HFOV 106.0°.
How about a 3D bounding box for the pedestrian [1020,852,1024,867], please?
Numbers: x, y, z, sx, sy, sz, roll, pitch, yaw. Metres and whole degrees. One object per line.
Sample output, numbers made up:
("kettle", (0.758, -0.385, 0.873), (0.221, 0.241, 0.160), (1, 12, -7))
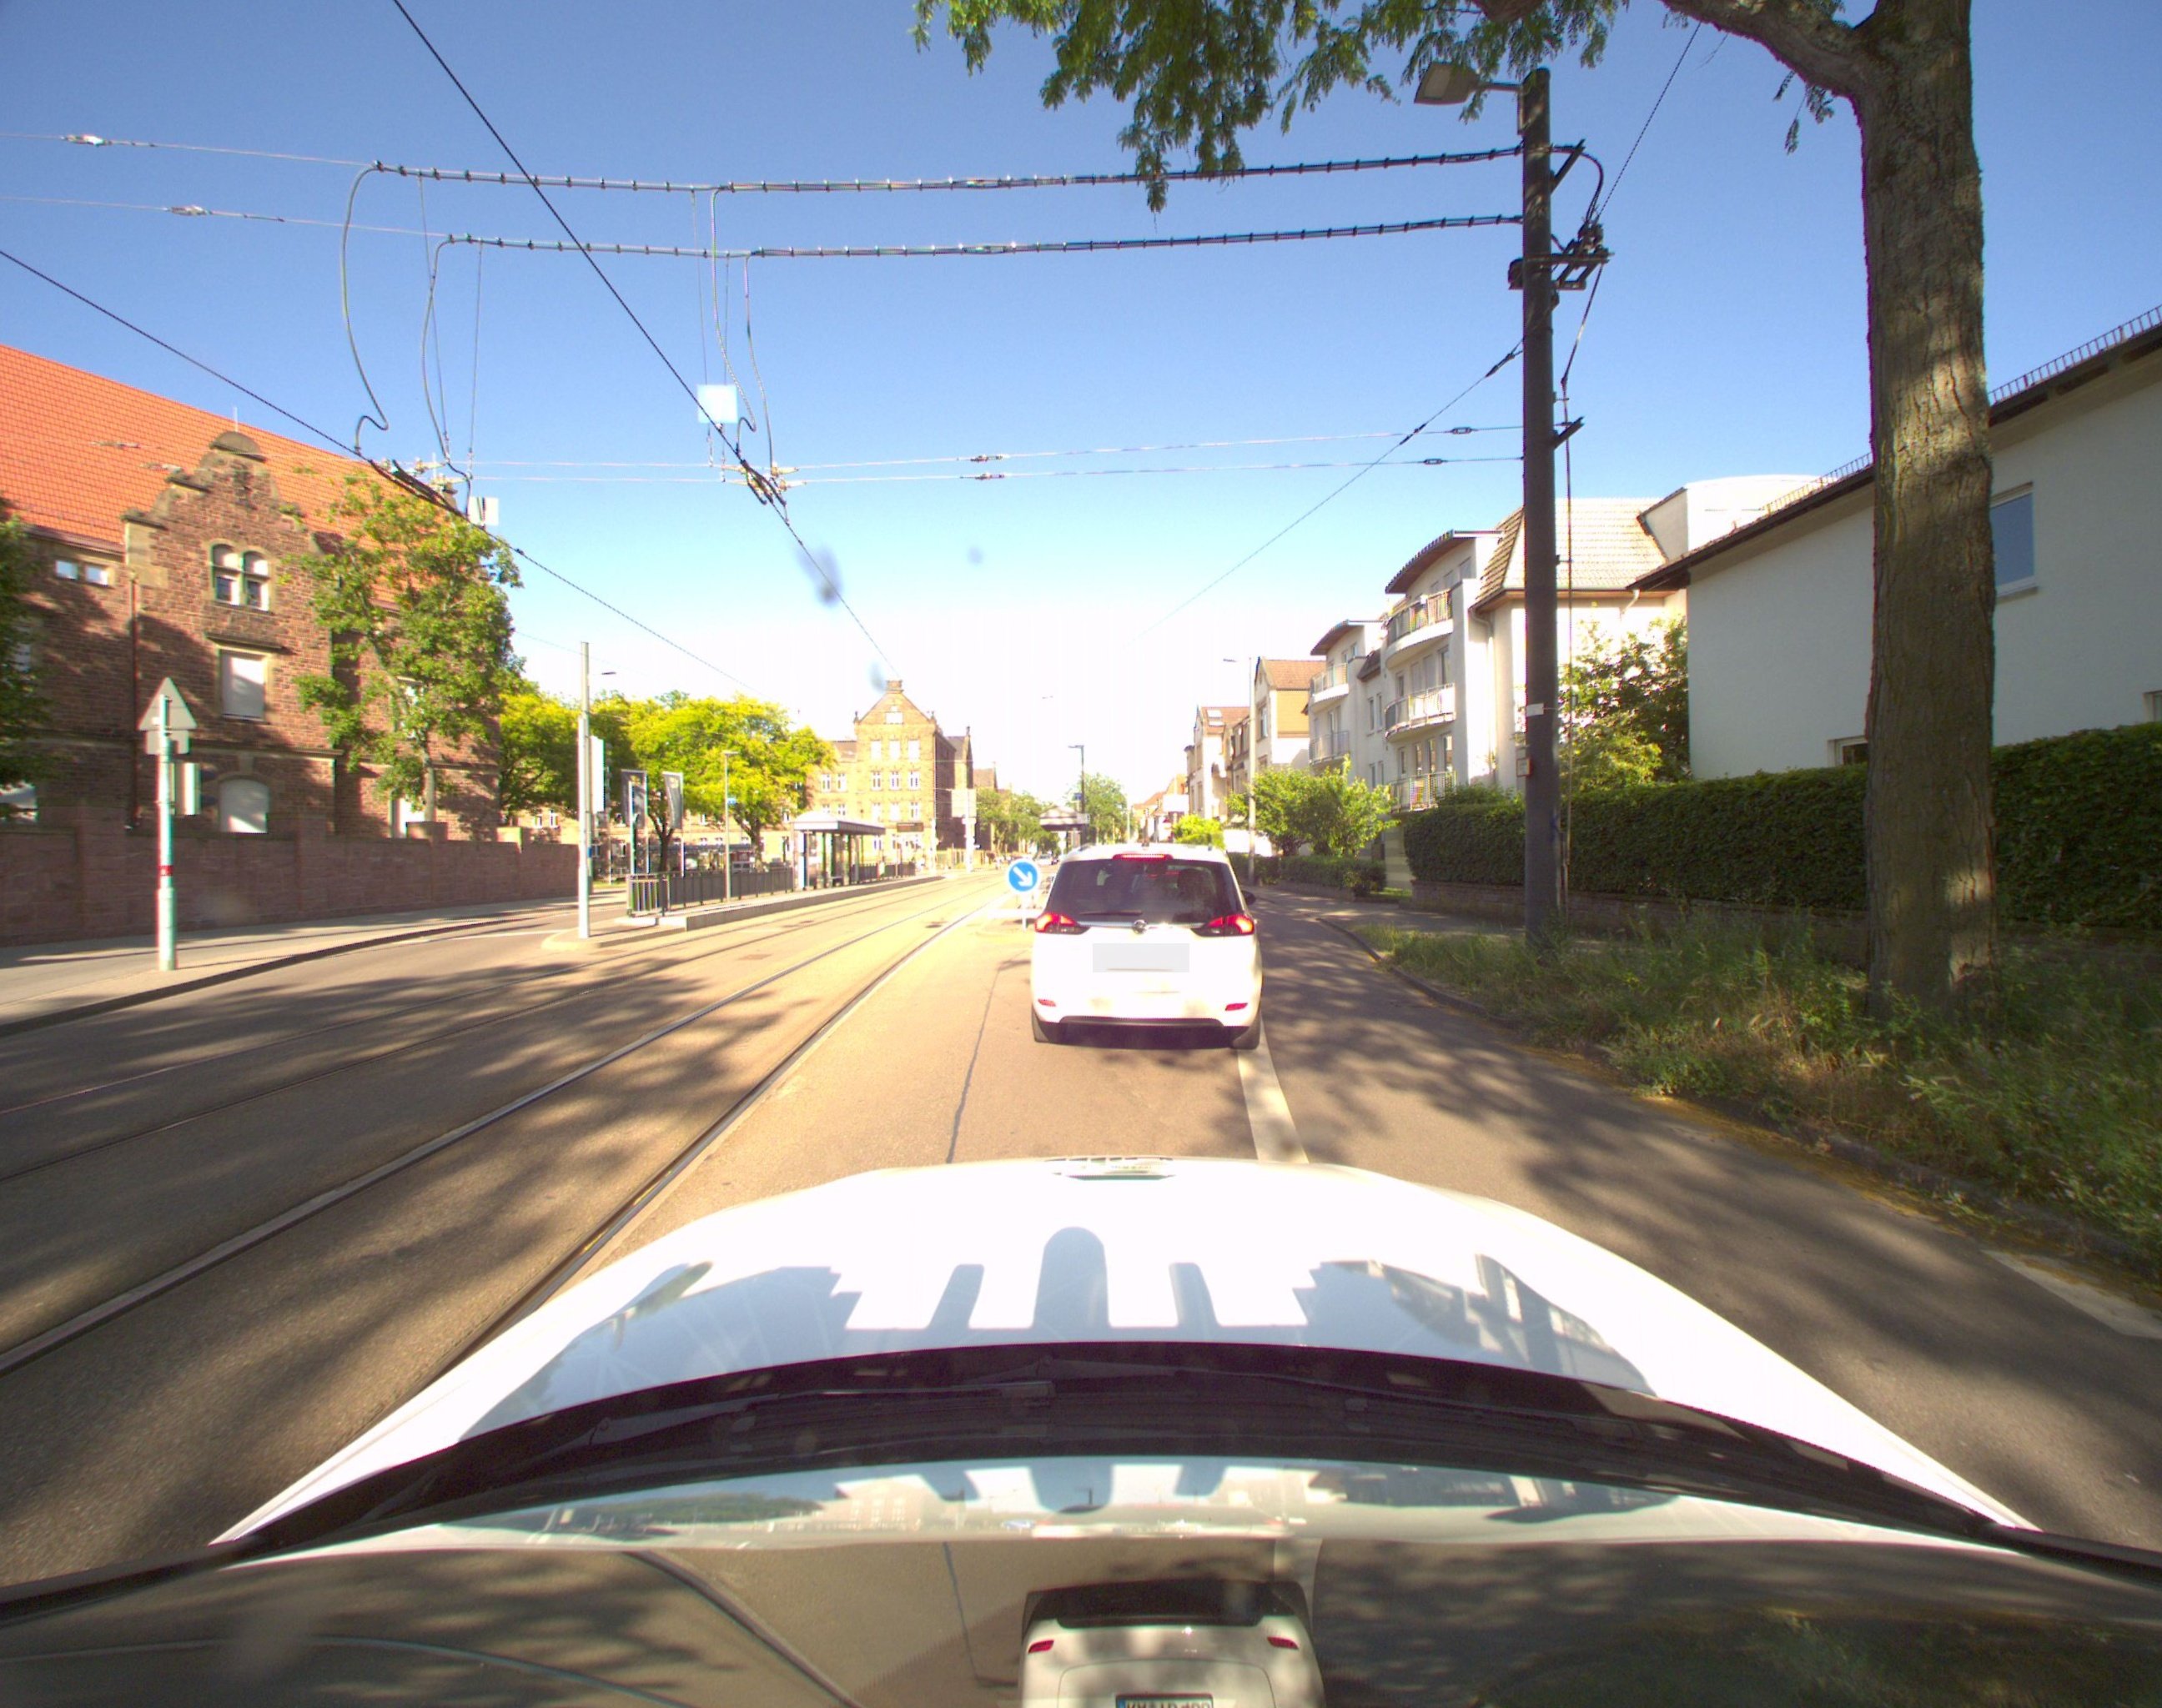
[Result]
("pedestrian", (-8.153, 0.758, 112.646), (0.443, 2.013, 0.495), (-1, 0, -2))

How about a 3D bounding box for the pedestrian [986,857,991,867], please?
("pedestrian", (-15.316, 1.348, 134.330), (0.733, 1.714, 0.753), (0, -1, -4))

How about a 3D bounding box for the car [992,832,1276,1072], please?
("car", (0.642, 0.683, 7.699), (1.982, 1.644, 4.003), (0, 0, 8))

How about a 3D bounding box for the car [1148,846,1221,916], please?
("car", (2.571, 0.636, 20.889), (1.630, 1.601, 3.859), (-1, 0, 4))

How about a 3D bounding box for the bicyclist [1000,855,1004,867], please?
("bicyclist", (-10.665, 0.983, 109.599), (0.443, 1.553, 0.495), (-1, 0, -2))

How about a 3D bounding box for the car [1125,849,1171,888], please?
("car", (2.928, 0.607, 36.245), (1.824, 1.579, 4.012), (-1, 0, 2))

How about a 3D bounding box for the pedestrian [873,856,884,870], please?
("pedestrian", (-22.242, 0.992, 89.457), (0.926, 1.588, 0.807), (-1, -1, 9))

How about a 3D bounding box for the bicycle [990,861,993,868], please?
("bicycle", (-12.681, 1.512, 115.632), (0.343, 0.950, 0.996), (0, -1, -1))

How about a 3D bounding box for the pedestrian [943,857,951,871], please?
("pedestrian", (-15.970, 1.196, 97.046), (0.728, 1.714, 0.710), (-1, -1, 24))

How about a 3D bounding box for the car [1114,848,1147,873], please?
("car", (3.099, 0.379, 51.839), (1.986, 1.503, 4.002), (-1, 0, 2))

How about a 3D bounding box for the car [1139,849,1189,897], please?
("car", (2.942, 0.632, 29.315), (1.630, 1.601, 3.859), (-1, 0, 4))

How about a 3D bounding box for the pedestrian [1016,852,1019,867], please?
("pedestrian", (-8.772, 0.760, 112.354), (0.443, 2.013, 0.495), (-1, 0, -2))

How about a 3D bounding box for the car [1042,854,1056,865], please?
("car", (-5.134, 0.892, 130.987), (1.987, 1.629, 4.000), (-1, 0, 0))

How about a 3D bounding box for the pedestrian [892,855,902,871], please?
("pedestrian", (-19.309, 0.939, 85.574), (0.799, 1.588, 0.934), (0, -1, -1))

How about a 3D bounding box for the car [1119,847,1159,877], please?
("car", (3.125, 0.409, 44.371), (1.986, 1.503, 4.002), (-1, 0, 2))

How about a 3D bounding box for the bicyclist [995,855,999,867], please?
("bicyclist", (-10.982, 0.964, 107.020), (0.443, 1.553, 0.495), (-1, 0, -2))

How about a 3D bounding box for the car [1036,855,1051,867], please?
("car", (-5.299, 0.939, 114.740), (1.989, 1.629, 3.996), (-1, 0, -3))

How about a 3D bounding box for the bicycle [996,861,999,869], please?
("bicycle", (-11.006, 1.432, 107.061), (0.343, 0.950, 0.996), (0, -1, -1))

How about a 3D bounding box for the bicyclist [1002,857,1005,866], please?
("bicyclist", (-11.236, 1.025, 117.718), (0.343, 1.320, 0.404), (0, -1, -2))

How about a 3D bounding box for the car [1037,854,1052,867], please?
("car", (-4.818, 0.879, 107.617), (1.989, 1.629, 3.996), (-1, 0, -3))

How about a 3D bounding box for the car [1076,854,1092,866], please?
("car", (0.415, 0.822, 111.111), (1.988, 1.629, 3.998), (-1, 0, -1))

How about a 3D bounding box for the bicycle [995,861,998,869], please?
("bicycle", (-10.718, 1.402, 103.519), (0.343, 0.950, 1.160), (0, -1, -1))

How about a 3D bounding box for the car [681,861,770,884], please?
("car", (-32.963, 1.688, 75.695), (6.926, 1.921, 2.992), (-1, 0, 0))

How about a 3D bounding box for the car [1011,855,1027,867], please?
("car", (-8.194, 0.910, 107.475), (1.989, 1.629, 3.996), (-1, 0, -3))

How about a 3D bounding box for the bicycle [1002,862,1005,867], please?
("bicycle", (-11.238, 1.501, 117.708), (0.343, 0.725, 0.996), (0, -1, -1))

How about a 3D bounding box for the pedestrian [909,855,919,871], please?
("pedestrian", (-17.528, 0.955, 85.587), (0.839, 1.691, 1.029), (0, -1, 1))

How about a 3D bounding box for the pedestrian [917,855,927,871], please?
("pedestrian", (-16.545, 0.934, 84.748), (0.892, 1.684, 1.029), (0, -1, 1))

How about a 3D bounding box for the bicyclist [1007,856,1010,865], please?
("bicyclist", (-10.535, 1.001, 117.922), (0.358, 1.303, 0.397), (-1, 0, -2))

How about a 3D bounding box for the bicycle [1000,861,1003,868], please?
("bicycle", (-10.664, 1.449, 109.604), (0.343, 0.950, 0.996), (0, -1, -1))

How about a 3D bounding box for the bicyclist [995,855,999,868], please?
("bicyclist", (-10.710, 0.935, 103.729), (0.443, 1.553, 0.742), (-1, 0, -2))

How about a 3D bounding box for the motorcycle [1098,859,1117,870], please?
("motorcycle", (2.848, 1.132, 87.473), (2.078, 1.198, 0.608), (-1, 0, -25))

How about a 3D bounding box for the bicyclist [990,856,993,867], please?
("bicyclist", (-12.687, 1.044, 115.597), (0.443, 1.553, 0.495), (-1, 0, -2))

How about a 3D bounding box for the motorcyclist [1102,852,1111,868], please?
("motorcyclist", (2.735, 0.655, 87.426), (0.846, 1.621, 0.610), (-1, 0, -25))

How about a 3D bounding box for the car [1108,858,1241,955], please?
("car", (1.530, 0.790, 14.061), (1.944, 1.397, 4.005), (-1, 0, 4))
